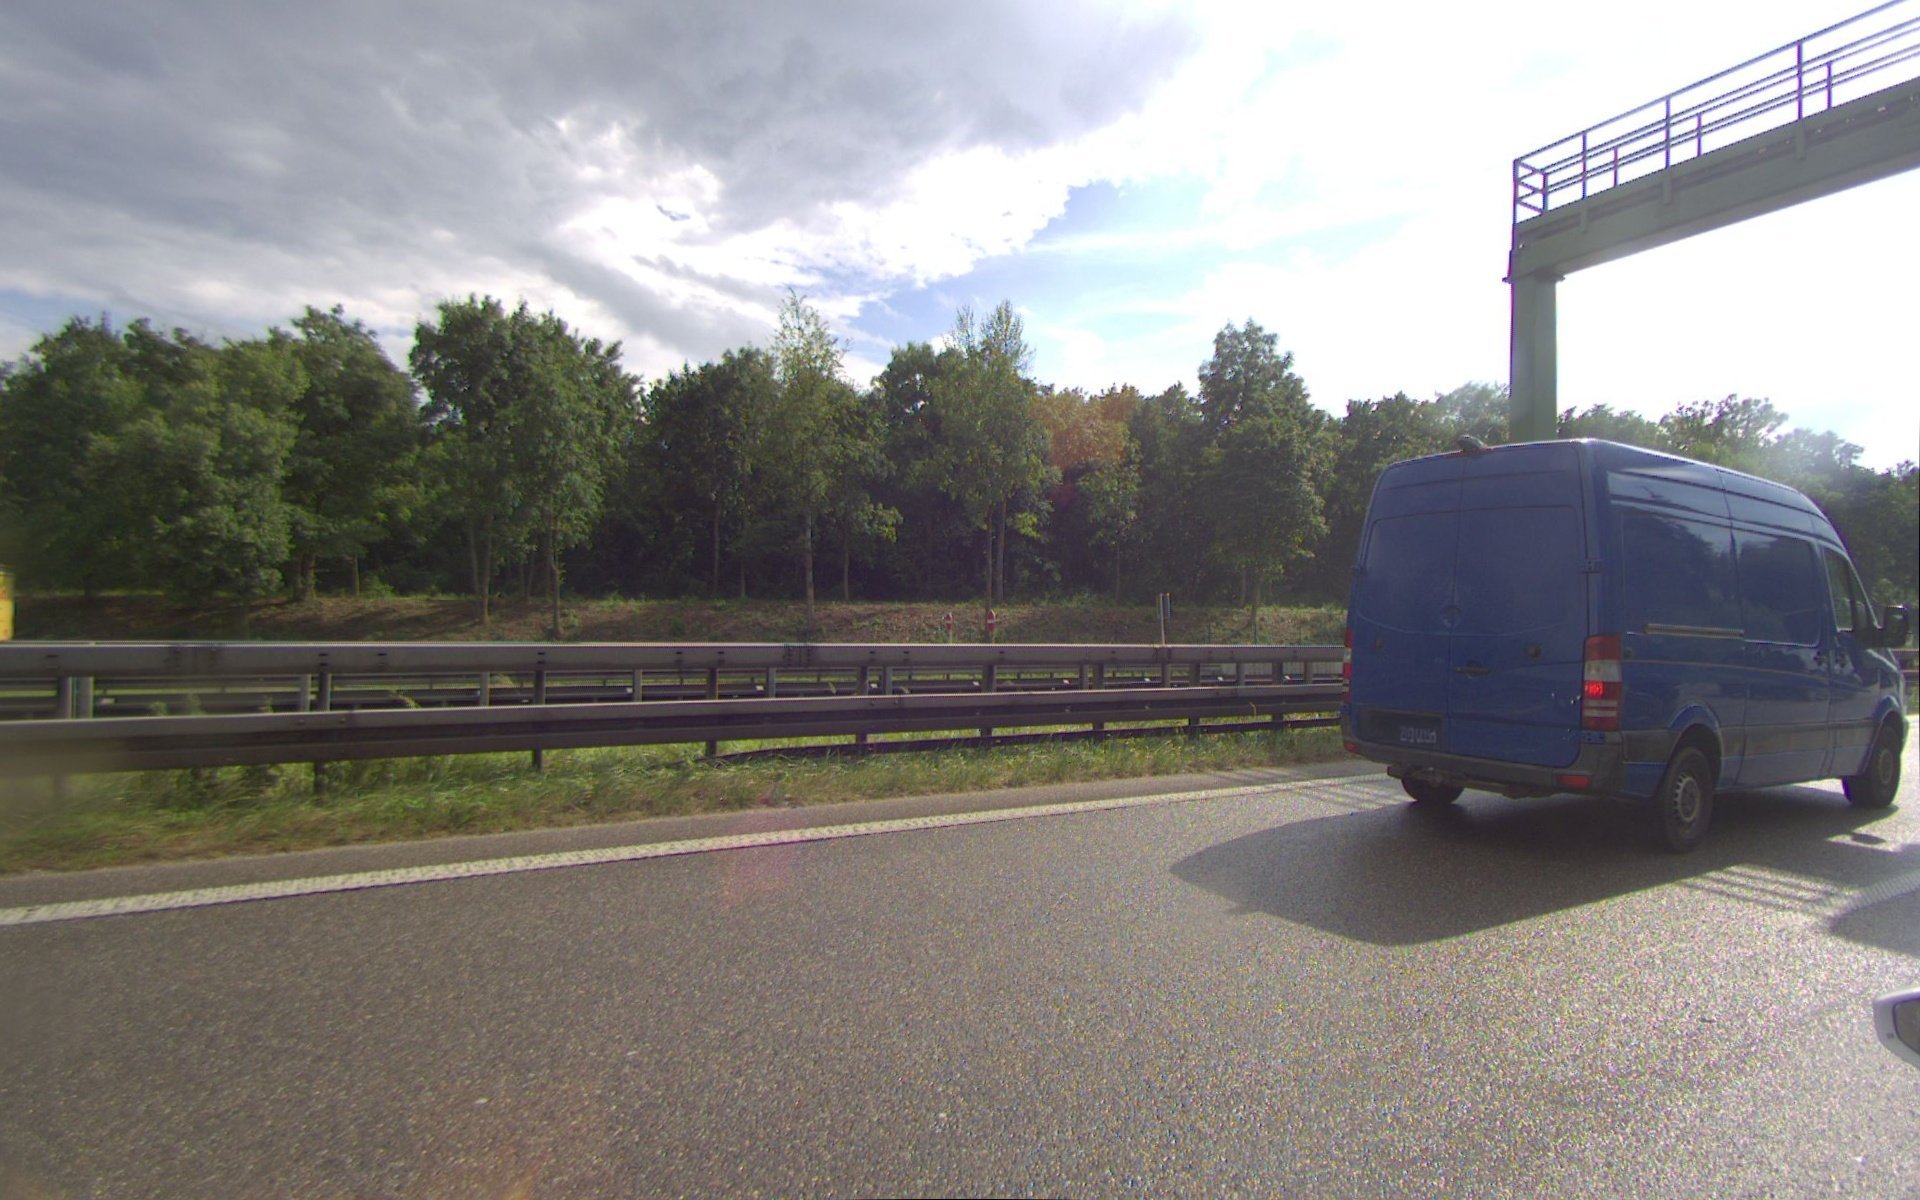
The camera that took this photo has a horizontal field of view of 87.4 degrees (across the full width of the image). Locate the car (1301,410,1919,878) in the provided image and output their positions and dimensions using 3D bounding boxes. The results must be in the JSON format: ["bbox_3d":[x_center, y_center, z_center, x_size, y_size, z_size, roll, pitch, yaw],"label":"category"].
[{"bbox_3d":[5.519,0.315,8.101,5.710,2.684,2.006,2,0,-31],"label":"car"}]

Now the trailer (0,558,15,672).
[{"bbox_3d":[-37.713,0.256,30.508,13.443,3.744,1.992,2,0,-18],"label":"trailer"}]
